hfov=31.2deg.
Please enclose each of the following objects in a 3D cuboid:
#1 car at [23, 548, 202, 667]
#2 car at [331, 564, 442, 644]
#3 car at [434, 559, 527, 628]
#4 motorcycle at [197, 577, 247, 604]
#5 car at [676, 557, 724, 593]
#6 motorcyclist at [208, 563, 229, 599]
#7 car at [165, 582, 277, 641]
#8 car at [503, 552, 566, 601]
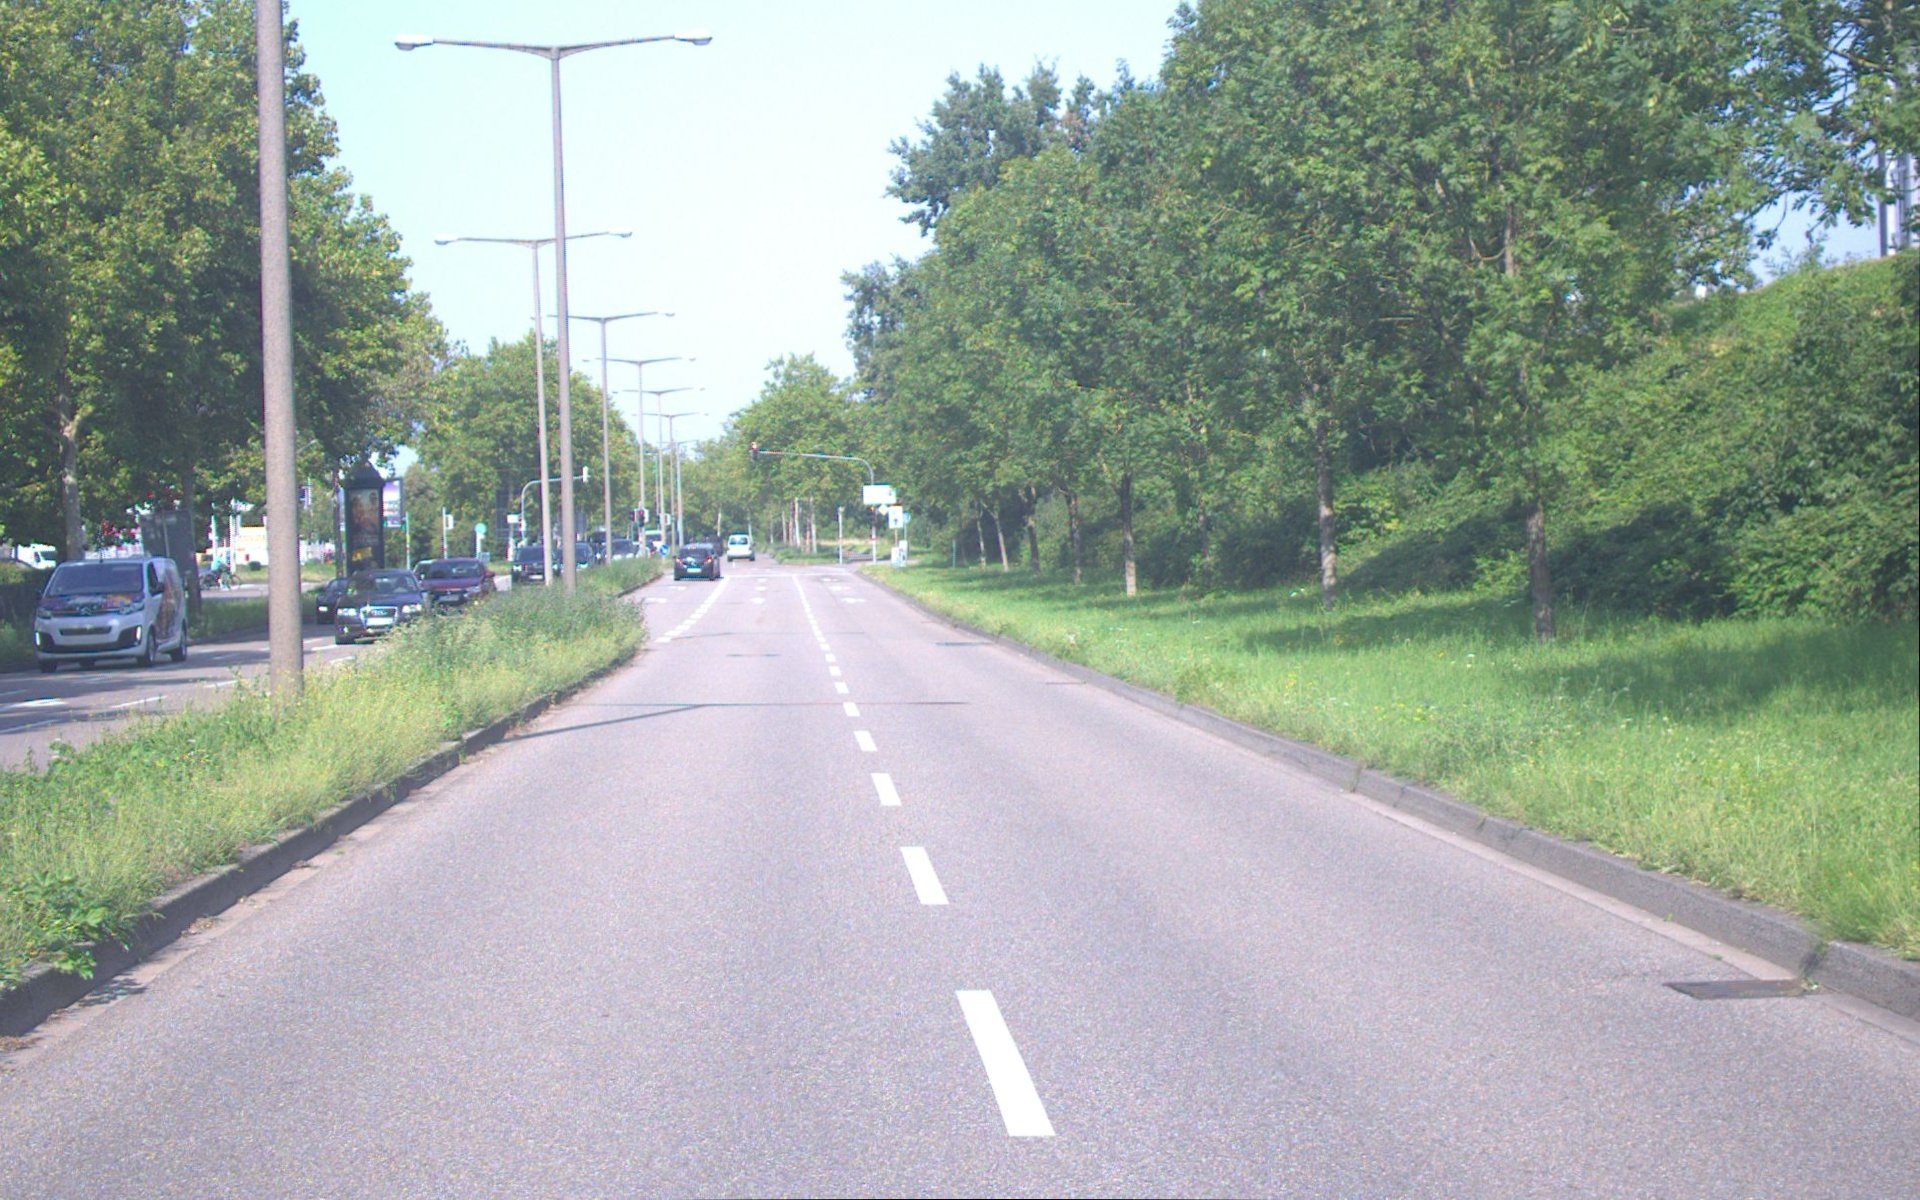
[{"bbox_3d":[-14.515,0.103,59.155,1.984,1.852,4.970,-3,1,-3],"label":"car"},{"bbox_3d":[-11.527,0.061,69.348,1.746,1.474,4.587,-3,1,-5],"label":"car"},{"bbox_3d":[-12.479,-0.189,89.735,1.954,1.718,4.587,-2,1,-3],"label":"car"},{"bbox_3d":[-32.569,-0.426,151.766,2.070,1.132,0.677,-1,0,-38],"label":"motorcycle"},{"bbox_3d":[-11.117,-1.093,147.256,1.692,1.481,4.000,-1,1,0],"label":"car"},{"bbox_3d":[-32.710,-0.830,151.680,0.682,1.566,0.683,-1,1,-39],"label":"motorcyclist"},{"bbox_3d":[-17.516,0.264,81.678,1.790,1.258,4.095,-3,1,-1],"label":"car"},{"bbox_3d":[-16.658,-0.929,134.771,1.993,1.753,4.478,-3,1,-3],"label":"car"}]
